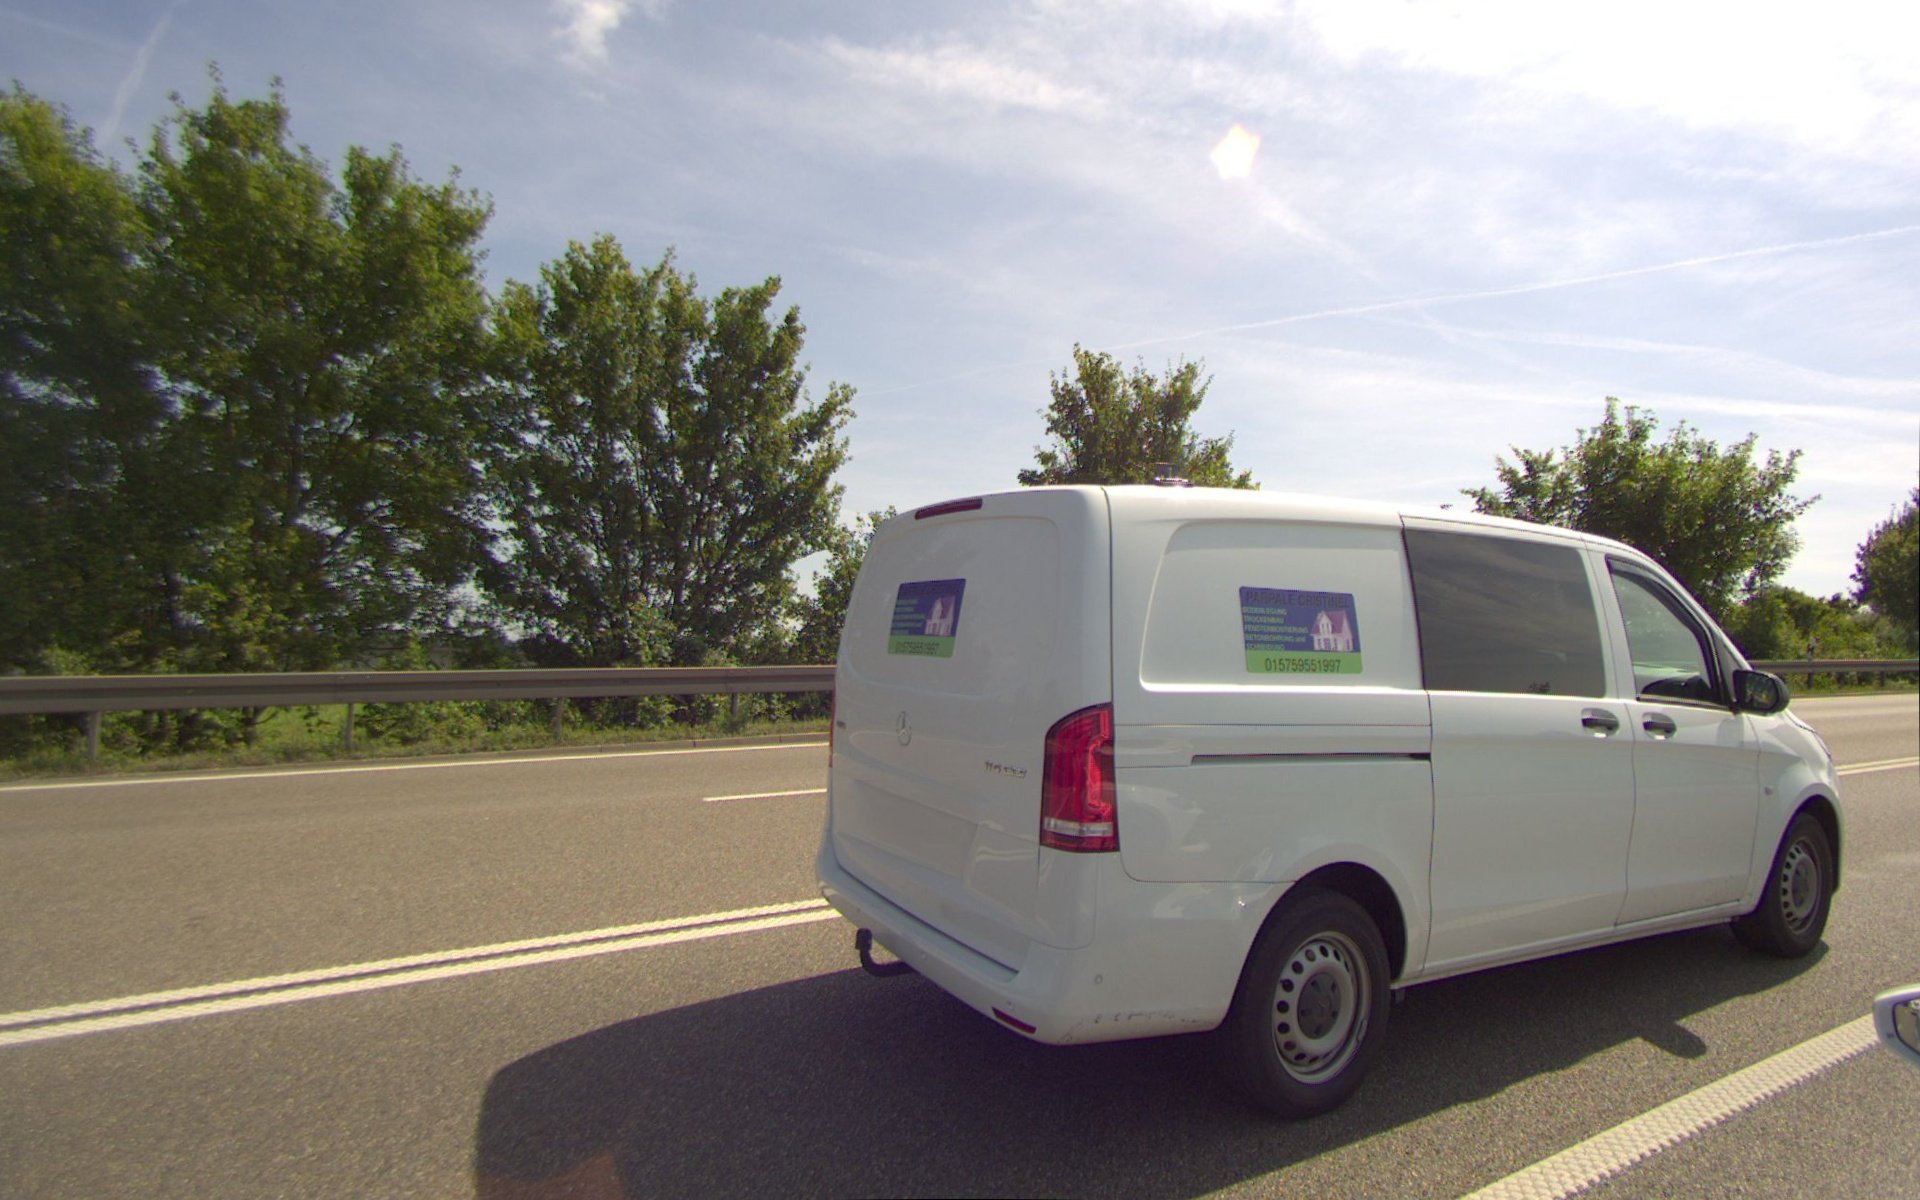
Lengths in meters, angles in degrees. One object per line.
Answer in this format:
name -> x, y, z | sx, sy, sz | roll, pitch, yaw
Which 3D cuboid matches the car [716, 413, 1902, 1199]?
car -> 1.852, 0.605, 4.408 | 5.368, 1.909, 1.896 | 1, -1, -30
